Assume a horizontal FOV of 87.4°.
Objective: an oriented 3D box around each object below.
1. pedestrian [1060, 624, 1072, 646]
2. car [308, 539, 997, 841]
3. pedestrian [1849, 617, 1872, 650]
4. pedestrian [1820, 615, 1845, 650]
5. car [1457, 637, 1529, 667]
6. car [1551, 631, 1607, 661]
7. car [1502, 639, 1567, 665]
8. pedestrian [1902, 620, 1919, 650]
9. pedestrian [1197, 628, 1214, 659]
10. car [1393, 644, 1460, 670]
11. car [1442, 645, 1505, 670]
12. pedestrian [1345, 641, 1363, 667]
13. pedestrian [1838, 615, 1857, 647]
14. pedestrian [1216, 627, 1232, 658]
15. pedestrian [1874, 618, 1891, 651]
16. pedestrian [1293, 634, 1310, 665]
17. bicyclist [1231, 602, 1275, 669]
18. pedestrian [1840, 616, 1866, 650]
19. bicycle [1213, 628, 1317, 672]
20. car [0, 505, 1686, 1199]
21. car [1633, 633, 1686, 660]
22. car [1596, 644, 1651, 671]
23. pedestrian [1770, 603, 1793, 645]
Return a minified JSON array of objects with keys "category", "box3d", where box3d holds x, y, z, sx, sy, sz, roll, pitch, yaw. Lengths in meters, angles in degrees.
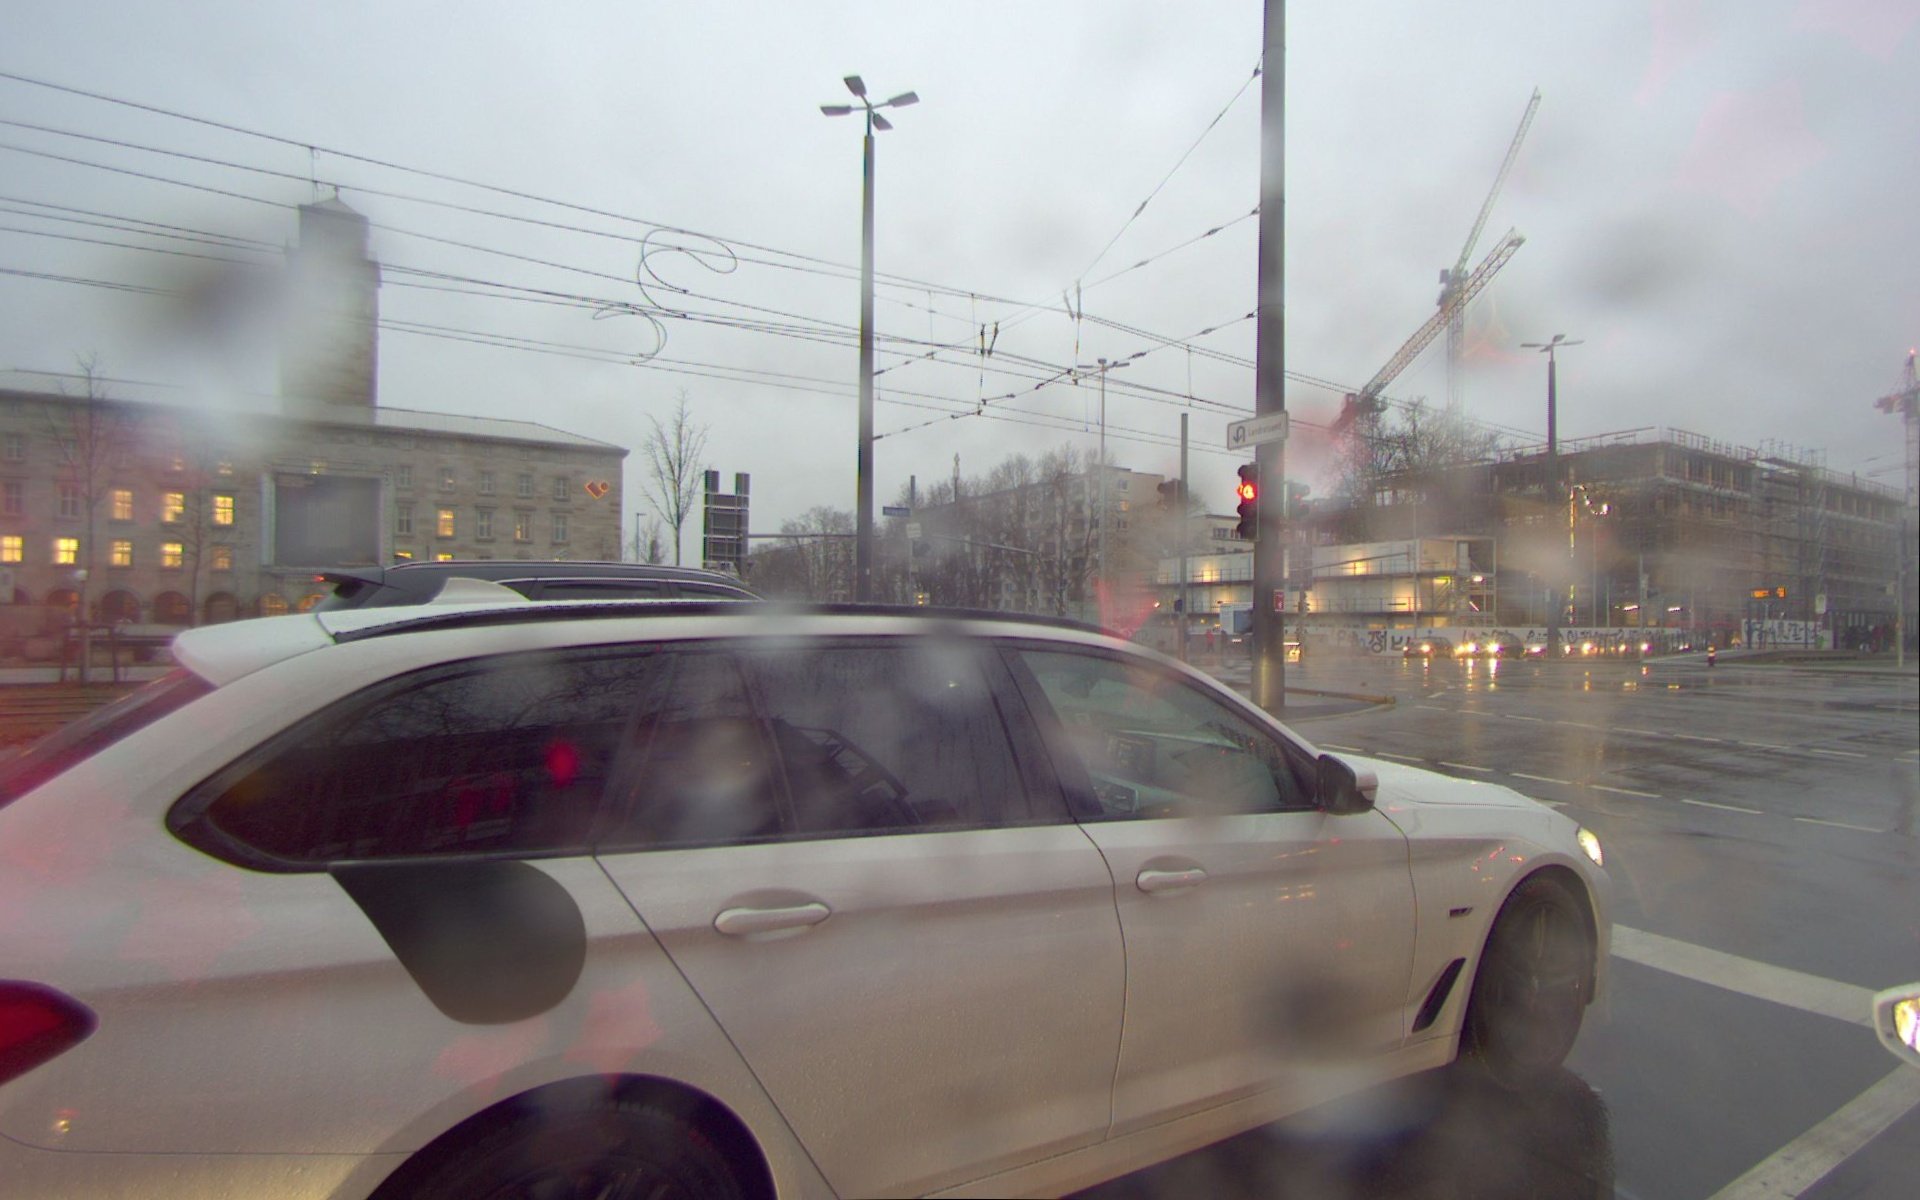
[{"category":"pedestrian","box3d":[9.294,3.078,87.955,0.709,1.927,0.787,1,-1,-31]},{"category":"car","box3d":[-2.055,0.552,7.235,4.238,1.605,1.958,2,-1,-29]},{"category":"pedestrian","box3d":[54.141,1.989,60.386,0.754,1.922,0.761,3,-1,-30]},{"category":"pedestrian","box3d":[53.424,1.989,61.494,1.083,2.040,0.935,2,0,-36]},{"category":"car","box3d":[31.337,3.061,59.051,3.953,1.679,1.984,2,-2,-30]},{"category":"car","box3d":[41.062,3.038,66.633,3.963,1.852,1.852,2,0,-37]},{"category":"car","box3d":[35.897,3.243,62.717,4.577,1.550,2.059,2,-2,-40]},{"category":"pedestrian","box3d":[66.014,2.410,69.550,1.083,2.040,0.935,2,0,-36]},{"category":"pedestrian","box3d":[16.939,2.988,69.275,0.620,2.040,0.856,2,0,-37]},{"category":"car","box3d":[29.493,3.587,63.524,3.953,1.550,1.984,2,-2,-30]},{"category":"car","box3d":[34.483,3.843,67.436,3.953,1.550,1.984,2,-2,-30]},{"category":"pedestrian","box3d":[22.475,3.077,57.287,0.711,1.407,0.730,2,0,-5]},{"category":"pedestrian","box3d":[54.633,1.916,61.856,0.547,1.906,0.695,2,0,-30]},{"category":"pedestrian","box3d":[18.120,2.927,68.973,0.737,2.040,0.783,2,0,-25]},{"category":"pedestrian","box3d":[57.936,2.158,63.069,0.659,1.994,0.566,2,1,-36]},{"category":"pedestrian","box3d":[24.533,3.528,72.200,0.758,2.194,0.867,2,0,-38]},{"category":"bicyclist","box3d":[8.555,1.033,29.319,1.137,1.896,0.745,2,0,22]},{"category":"pedestrian","box3d":[55.648,2.062,62.594,1.082,2.040,0.937,2,0,-32]},{"category":"bicycle","box3d":[8.856,1.437,29.193,2.810,1.114,0.745,2,0,22]},{"category":"car","box3d":[0.023,0.704,3.098,4.508,1.506,2.007,2,-2,-31]},{"category":"car","box3d":[51.610,3.415,74.136,3.961,1.814,1.980,2,0,-36]},{"category":"car","box3d":[46.989,4.043,71.131,3.961,1.814,1.980,2,0,-36]},{"category":"pedestrian","box3d":[47.256,1.380,57.795,0.754,2.354,0.761,3,-1,-30]}]
